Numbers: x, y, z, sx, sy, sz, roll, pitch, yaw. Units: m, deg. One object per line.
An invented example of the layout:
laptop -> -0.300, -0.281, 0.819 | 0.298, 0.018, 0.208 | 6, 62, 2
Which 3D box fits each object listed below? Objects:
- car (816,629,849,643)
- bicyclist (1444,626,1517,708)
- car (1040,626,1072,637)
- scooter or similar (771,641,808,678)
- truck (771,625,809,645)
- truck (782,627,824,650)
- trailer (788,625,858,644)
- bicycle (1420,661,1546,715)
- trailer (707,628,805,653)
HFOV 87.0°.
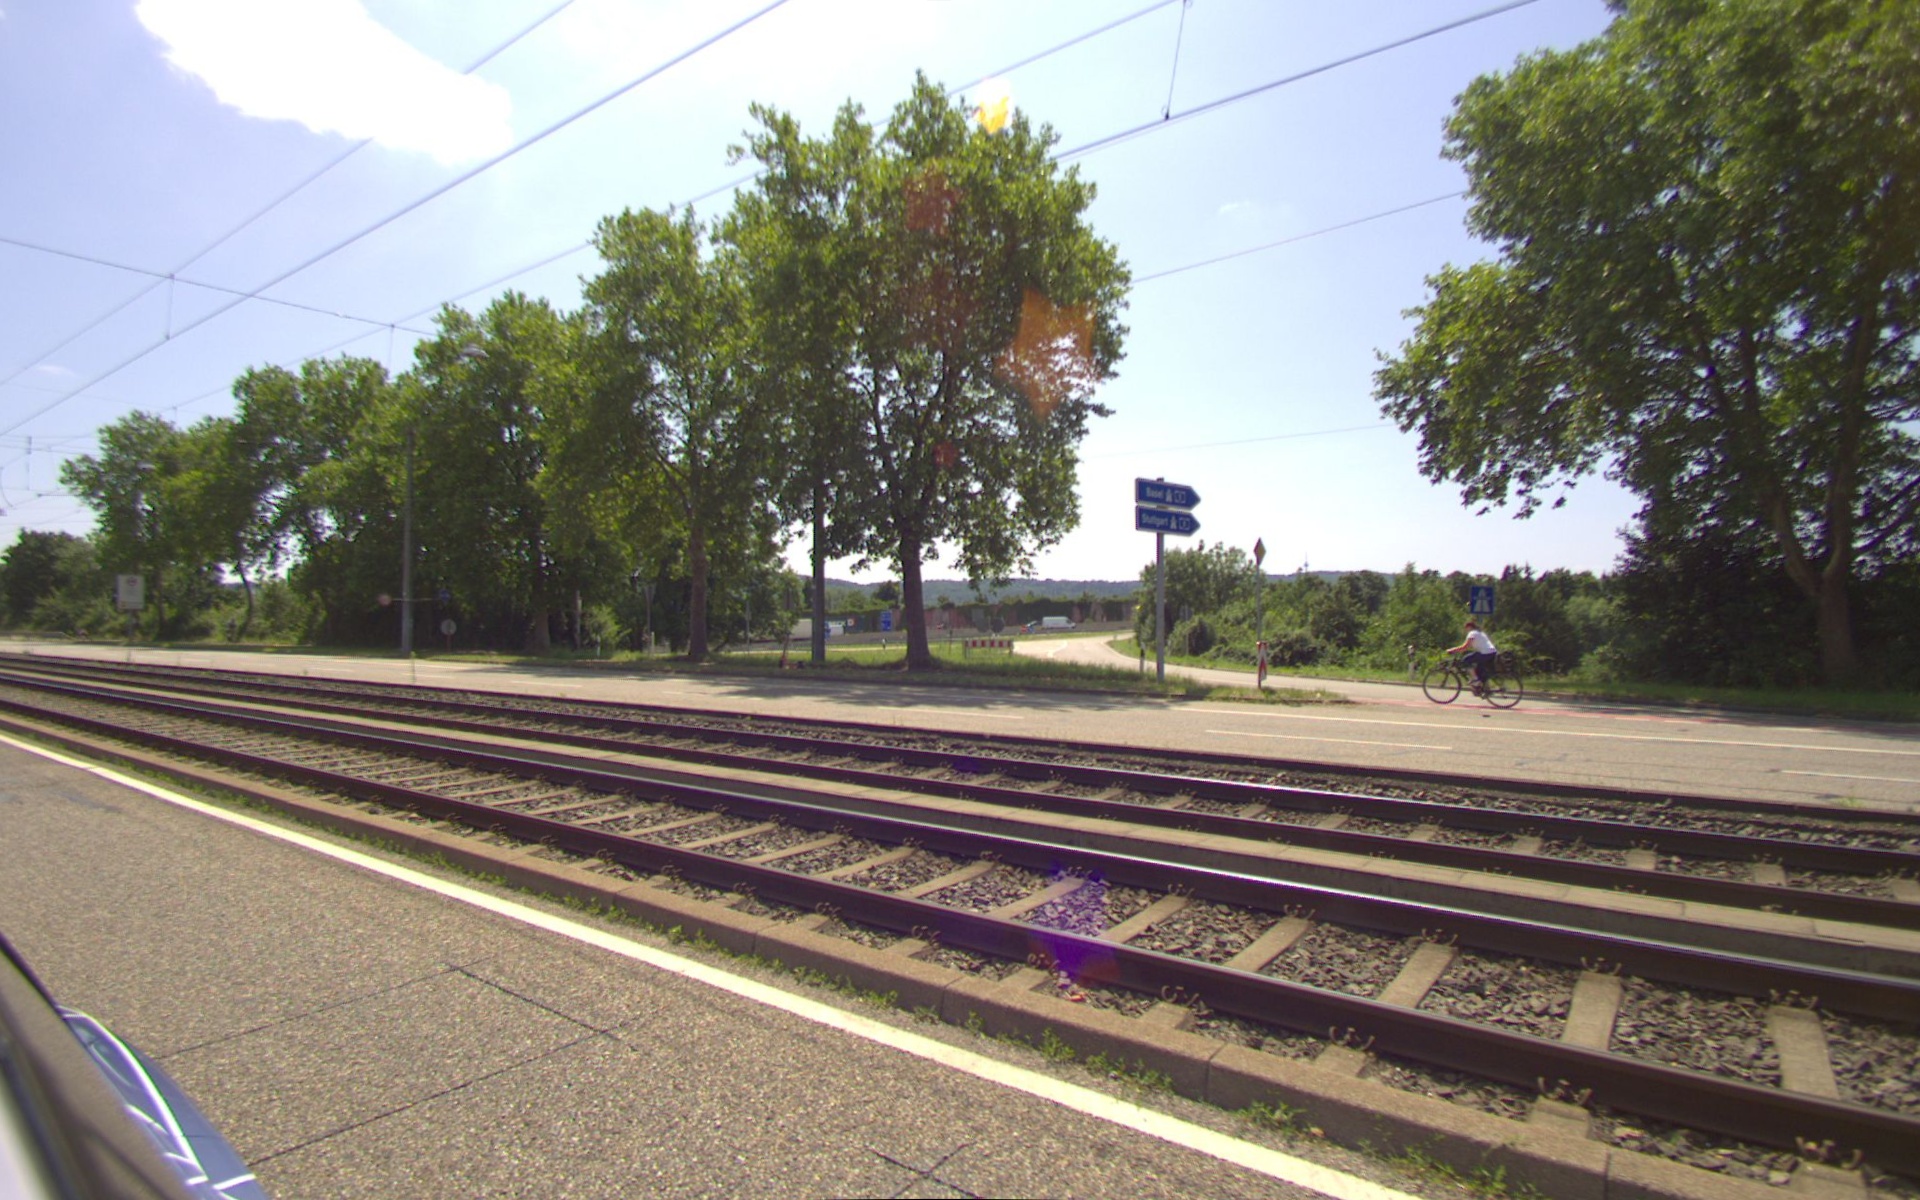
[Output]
car -> -23.055, 6.512, 182.582 | 5.474, 2.524, 2.229 | 1, -2, -23
bicyclist -> 10.049, 1.263, 19.549 | 1.158, 1.529, 0.616 | -1, -2, 36
car -> 17.298, 5.631, 182.653 | 5.491, 2.029, 2.006 | 1, -2, -26
scooter or similar -> -5.635, 1.949, 33.364 | 1.232, 1.159, 0.457 | -1, -1, 36
truck -> -30.743, 6.313, 183.036 | 6.035, 3.408, 3.340 | 1, -2, -23
truck -> -25.019, 6.115, 161.072 | 5.908, 3.454, 3.146 | -1, -1, -22
trailer -> -25.046, 6.349, 185.463 | 12.164, 3.466, 3.348 | 1, -2, -23
bicycle -> 10.067, 1.671, 19.527 | 2.087, 0.946, 0.616 | -1, -2, 37
trailer -> -31.811, 6.224, 158.241 | 14.565, 3.454, 3.146 | -1, -1, -22
